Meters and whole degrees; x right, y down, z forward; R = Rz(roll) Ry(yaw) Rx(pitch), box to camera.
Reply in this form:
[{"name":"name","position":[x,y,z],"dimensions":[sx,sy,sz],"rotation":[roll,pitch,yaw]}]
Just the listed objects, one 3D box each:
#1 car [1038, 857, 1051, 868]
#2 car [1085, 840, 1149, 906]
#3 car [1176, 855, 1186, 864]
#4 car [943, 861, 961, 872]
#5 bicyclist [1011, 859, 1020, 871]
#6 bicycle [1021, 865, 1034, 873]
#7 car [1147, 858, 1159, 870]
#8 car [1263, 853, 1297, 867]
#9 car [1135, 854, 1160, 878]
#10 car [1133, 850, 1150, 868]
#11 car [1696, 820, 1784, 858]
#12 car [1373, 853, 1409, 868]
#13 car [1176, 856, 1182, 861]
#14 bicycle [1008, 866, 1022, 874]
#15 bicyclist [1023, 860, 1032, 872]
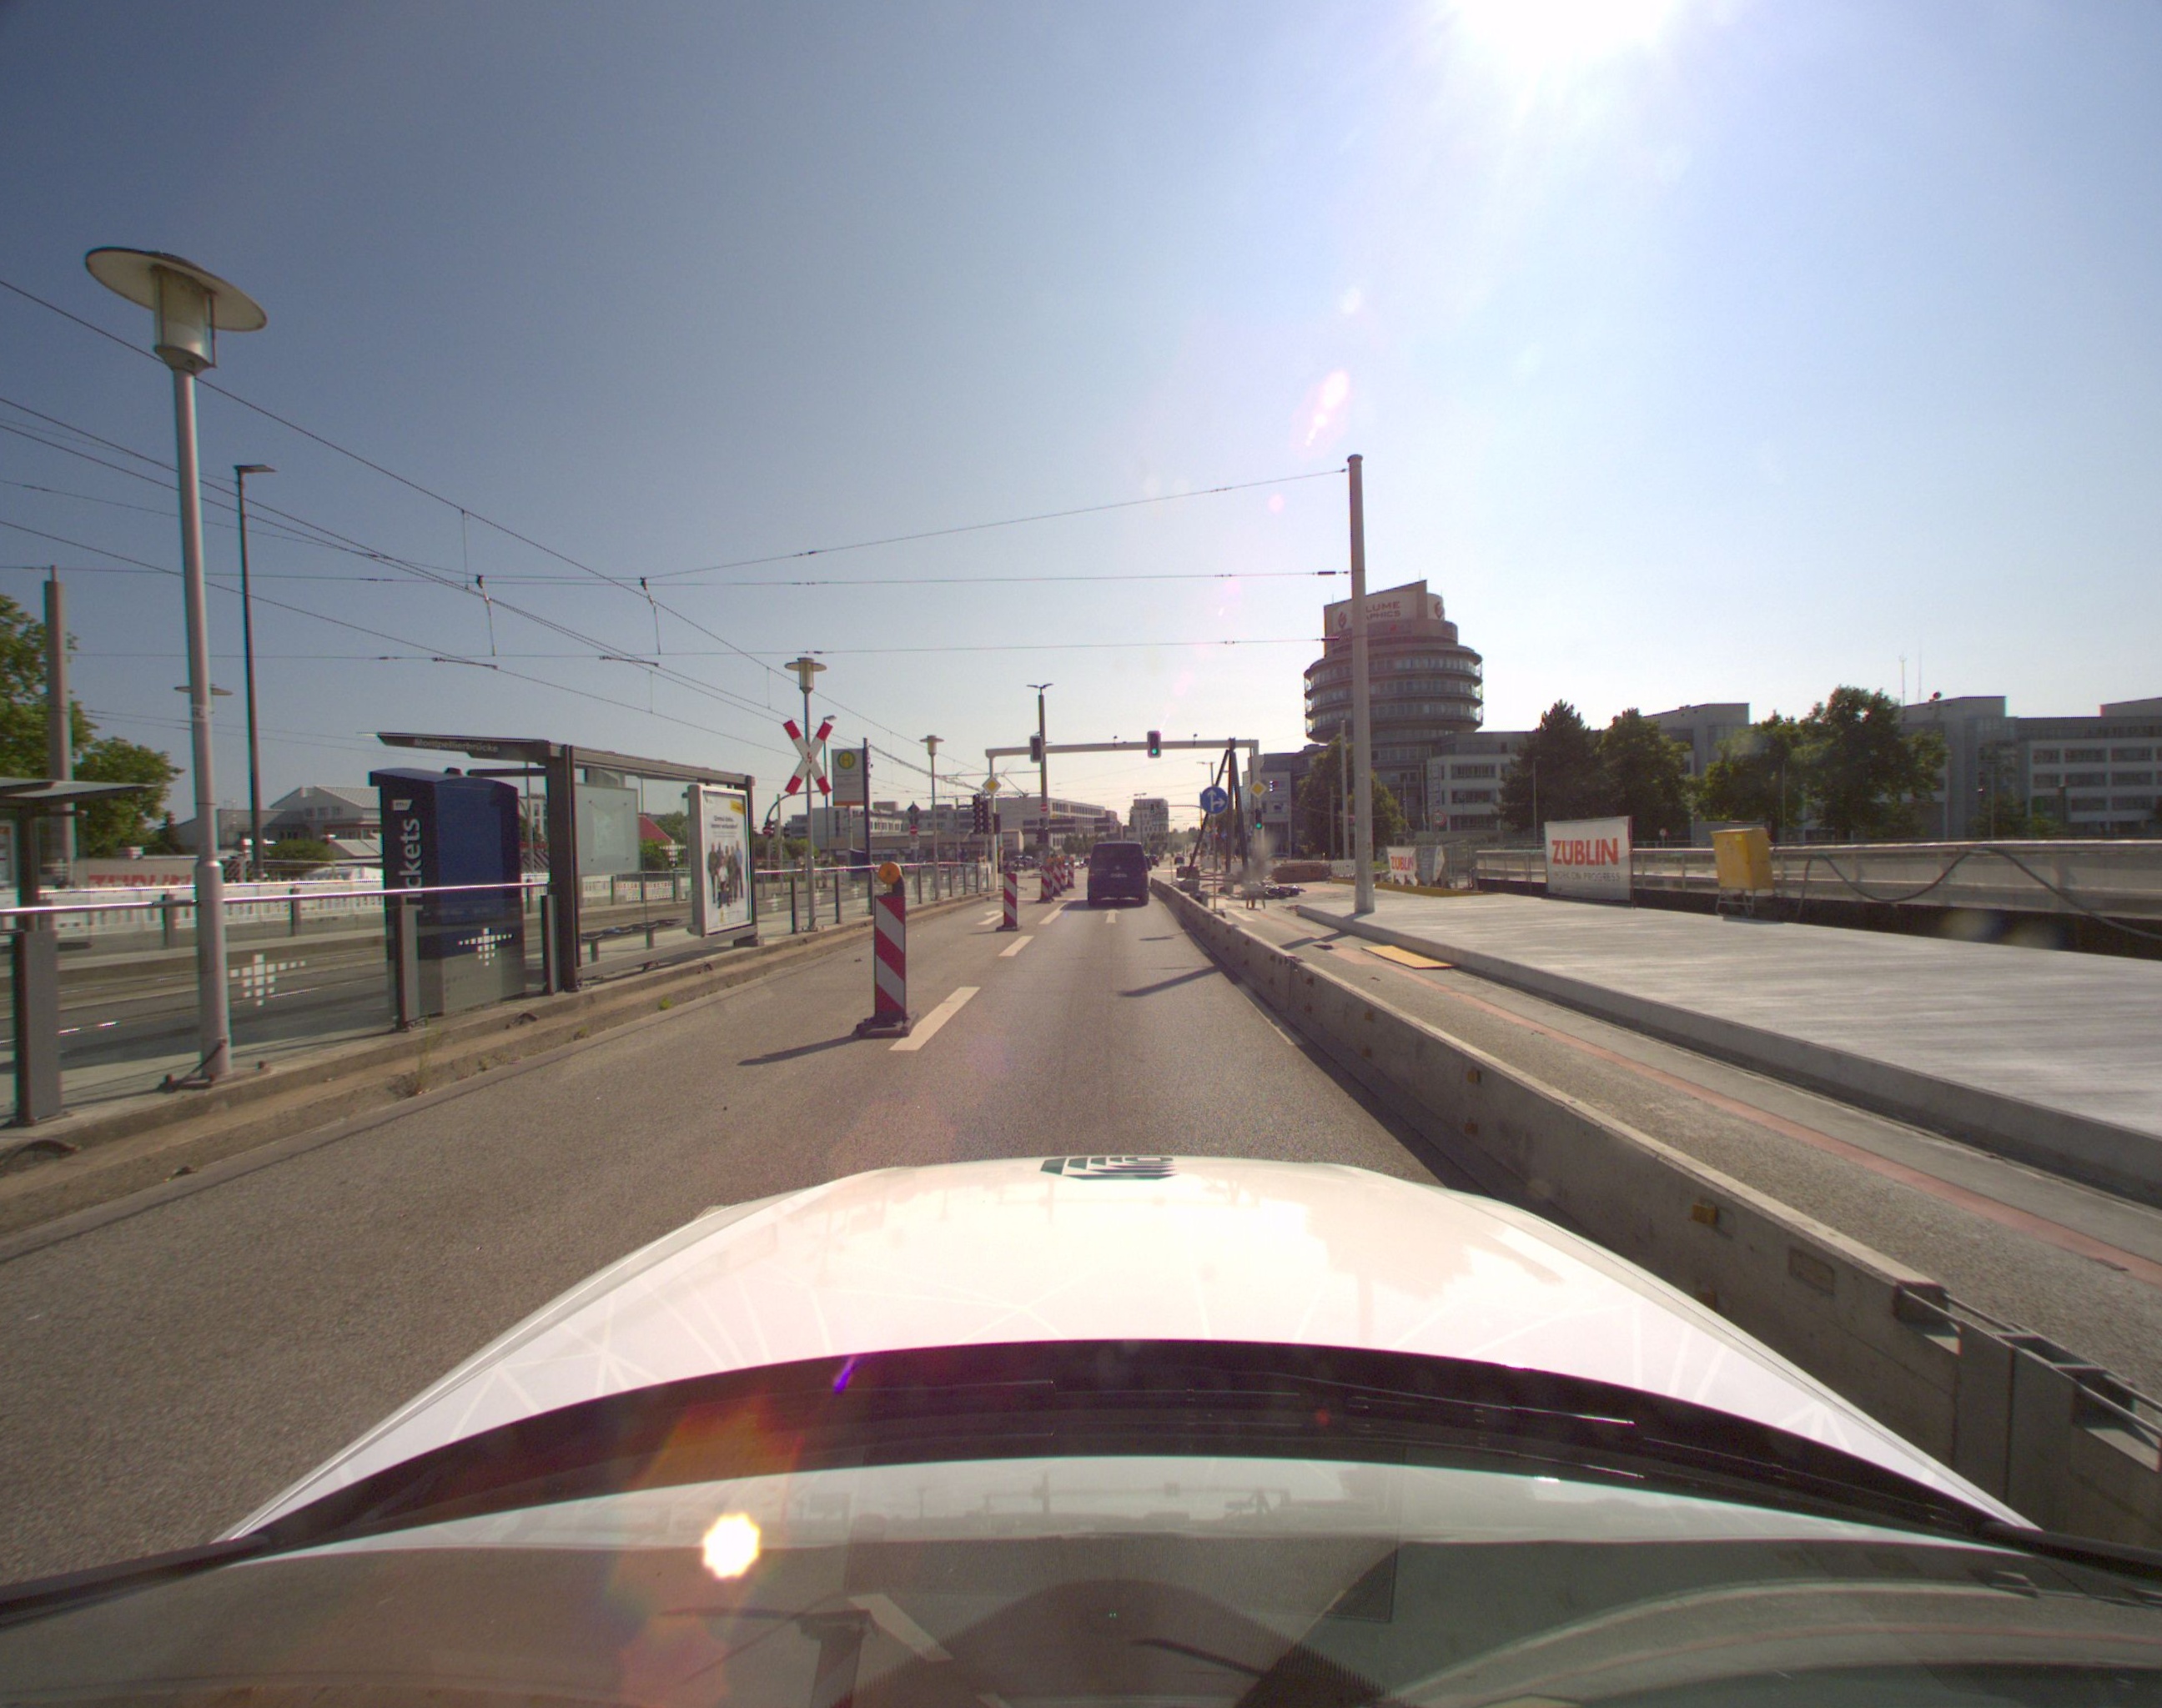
[{"name":"car","position":[-5.564,1.250,123.797],"dimensions":[1.741,1.486,4.000],"rotation":[-2,0,1]},{"name":"car","position":[1.148,0.528,26.061],"dimensions":[1.881,1.934,4.002],"rotation":[0,1,2]},{"name":"car","position":[17.388,0.951,141.736],"dimensions":[1.734,1.475,3.893],"rotation":[-1,0,8]},{"name":"car","position":[-18.546,1.774,116.934],"dimensions":[1.770,1.538,4.003],"rotation":[-1,0,3]},{"name":"bicyclist","position":[-9.043,1.532,112.269],"dimensions":[0.869,1.578,0.974],"rotation":[3,0,16]},{"name":"bicycle","position":[-7.654,2.081,115.810],"dimensions":[0.874,1.069,2.819],"rotation":[3,0,17]},{"name":"car","position":[10.261,1.405,116.111],"dimensions":[1.638,1.728,3.721],"rotation":[0,1,4]},{"name":"car","position":[24.831,0.748,101.611],"dimensions":[3.798,1.797,1.682],"rotation":[0,1,2]},{"name":"car","position":[4.862,0.871,59.850],"dimensions":[1.677,1.606,3.619],"rotation":[0,1,3]},{"name":"car","position":[6.245,0.470,83.817],"dimensions":[1.638,1.728,4.005],"rotation":[0,1,4]},{"name":"car","position":[50.955,-1.185,62.984],"dimensions":[5.965,2.886,2.333],"rotation":[-1,1,-17]},{"name":"car","position":[38.155,0.749,100.395],"dimensions":[3.798,1.797,1.682],"rotation":[0,1,2]},{"name":"car","position":[30.221,1.347,251.057],"dimensions":[1.542,1.340,3.016],"rotation":[0,0,1]},{"name":"bicycle","position":[-9.073,2.192,112.270],"dimensions":[0.874,1.069,2.819],"rotation":[3,0,17]},{"name":"bicyclist","position":[-7.625,1.691,115.859],"dimensions":[0.869,1.578,0.974],"rotation":[3,0,16]}]
